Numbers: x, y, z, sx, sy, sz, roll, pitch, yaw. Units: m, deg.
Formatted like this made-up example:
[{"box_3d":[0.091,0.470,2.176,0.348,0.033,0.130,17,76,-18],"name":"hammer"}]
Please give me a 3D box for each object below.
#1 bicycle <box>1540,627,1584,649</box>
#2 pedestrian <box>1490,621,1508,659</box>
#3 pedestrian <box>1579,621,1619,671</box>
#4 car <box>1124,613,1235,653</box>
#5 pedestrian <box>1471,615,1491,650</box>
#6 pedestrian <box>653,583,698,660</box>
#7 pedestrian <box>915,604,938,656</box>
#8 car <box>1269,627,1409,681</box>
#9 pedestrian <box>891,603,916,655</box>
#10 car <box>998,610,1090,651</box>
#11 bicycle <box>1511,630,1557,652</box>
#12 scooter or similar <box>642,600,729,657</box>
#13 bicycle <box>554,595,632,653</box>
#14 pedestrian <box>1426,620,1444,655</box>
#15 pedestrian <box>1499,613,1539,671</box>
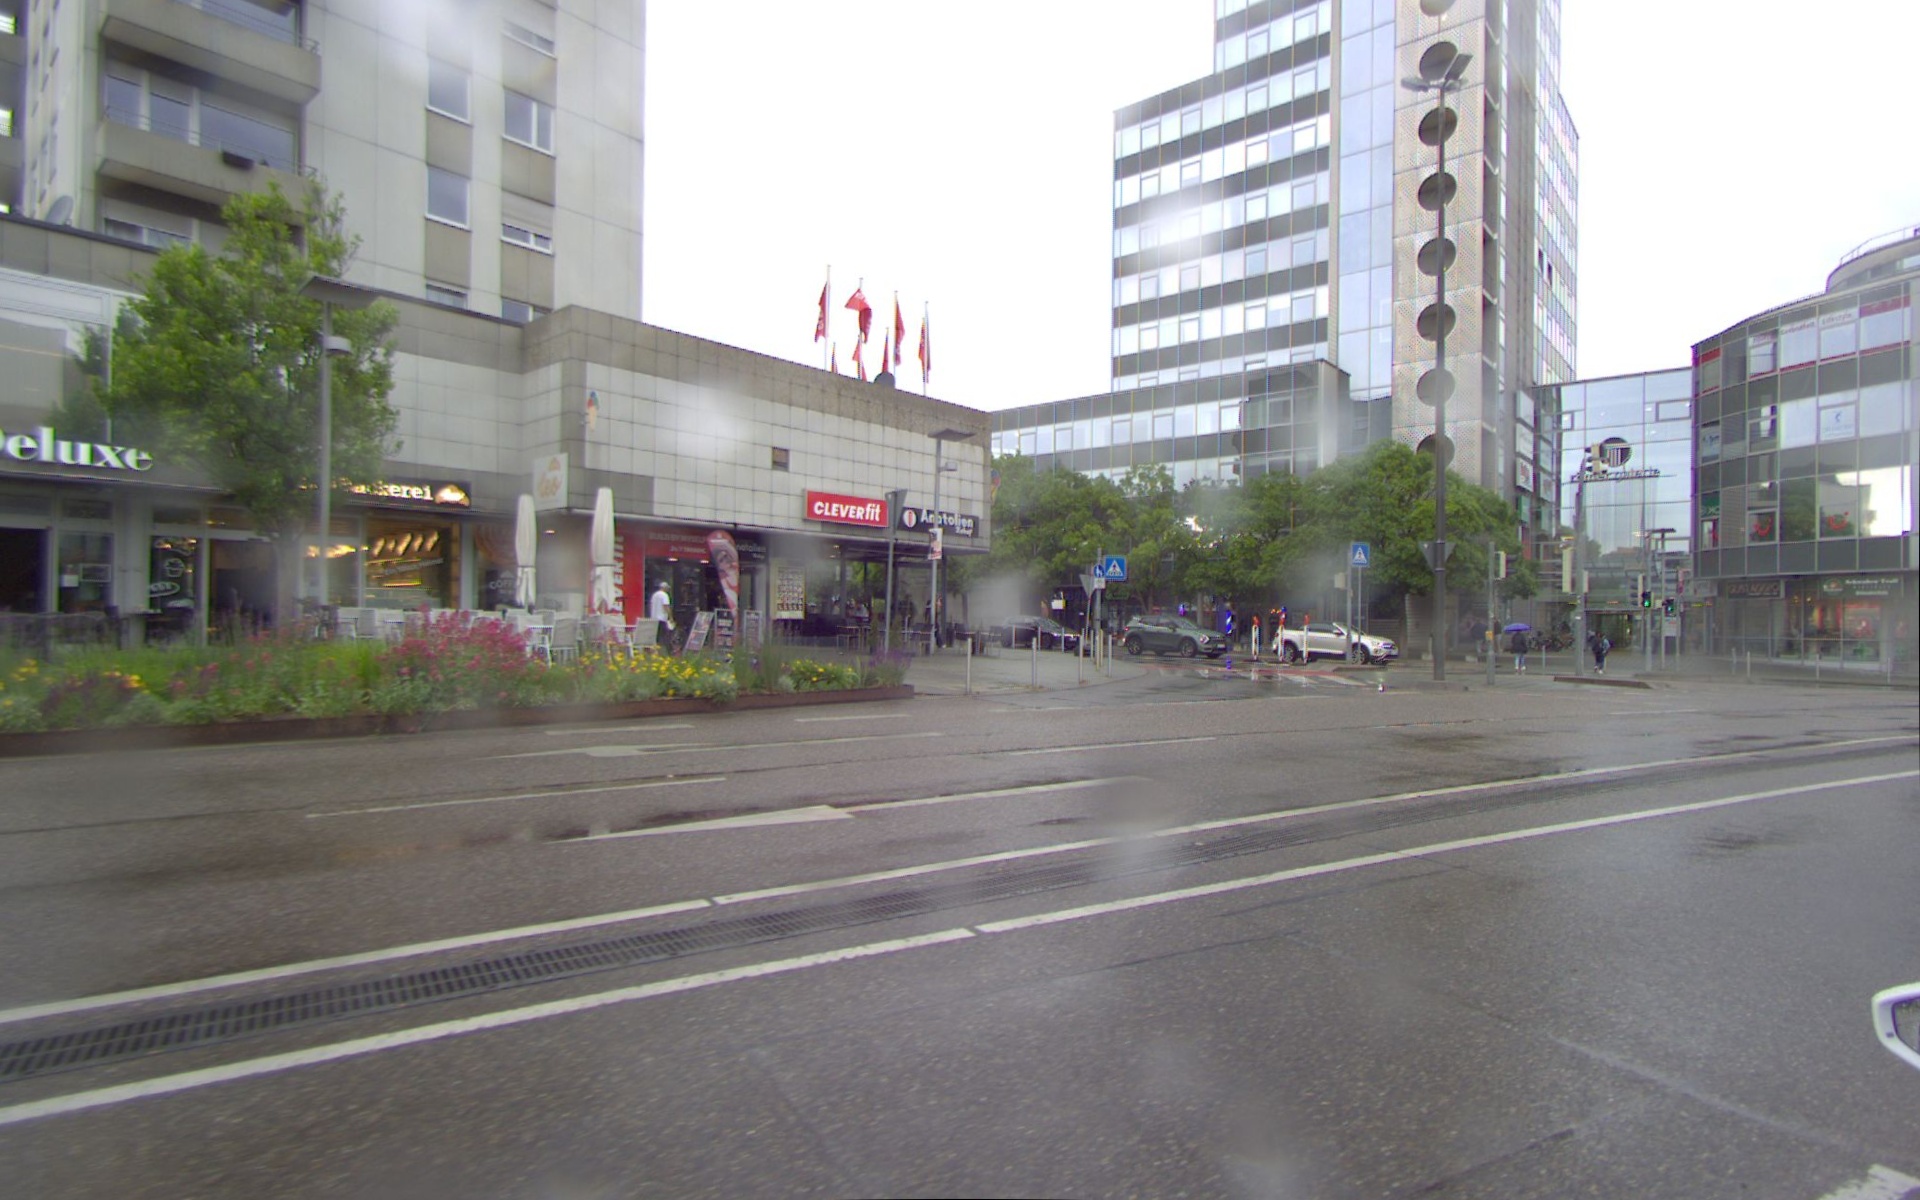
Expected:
[{"box_3d":[36.999,2.329,61.706,2.246,1.263,0.673,0,-2,40],"name":"bicycle"},{"box_3d":[28.864,2.135,53.798,0.703,2.040,0.762,1,0,39],"name":"pedestrian"},{"box_3d":[24.055,1.721,37.812,1.008,1.843,0.845,1,-1,-18],"name":"pedestrian"},{"box_3d":[8.711,1.298,40.024,1.857,1.439,4.008,1,-1,-42],"name":"car"},{"box_3d":[28.250,1.748,54.430,0.821,1.893,0.750,0,-2,40],"name":"pedestrian"},{"box_3d":[-6.442,0.477,22.764,0.702,1.715,0.656,1,0,27],"name":"pedestrian"},{"box_3d":[-0.900,0.803,26.998,0.528,1.365,0.496,1,0,-13],"name":"pedestrian"},{"box_3d":[13.120,1.815,34.920,1.858,1.616,4.150,2,0,-44],"name":"car"},{"box_3d":[-1.515,0.772,26.840,0.528,1.365,0.496,2,-1,-15],"name":"pedestrian"},{"box_3d":[3.761,1.350,45.415,1.856,1.617,3.949,1,1,-42],"name":"car"},{"box_3d":[33.353,2.369,58.421,2.246,1.263,0.673,0,-2,40],"name":"bicycle"},{"box_3d":[-6.086,0.599,22.197,2.557,1.190,0.639,0,-1,44],"name":"scooter or similar"},{"box_3d":[-8.452,0.526,23.051,0.692,1.239,2.519,1,0,-45],"name":"bicycle"},{"box_3d":[26.236,2.085,55.464,0.738,1.893,0.834,0,-1,14],"name":"pedestrian"},{"box_3d":[20.223,1.494,36.348,1.146,2.040,1.324,1,0,34],"name":"pedestrian"}]
